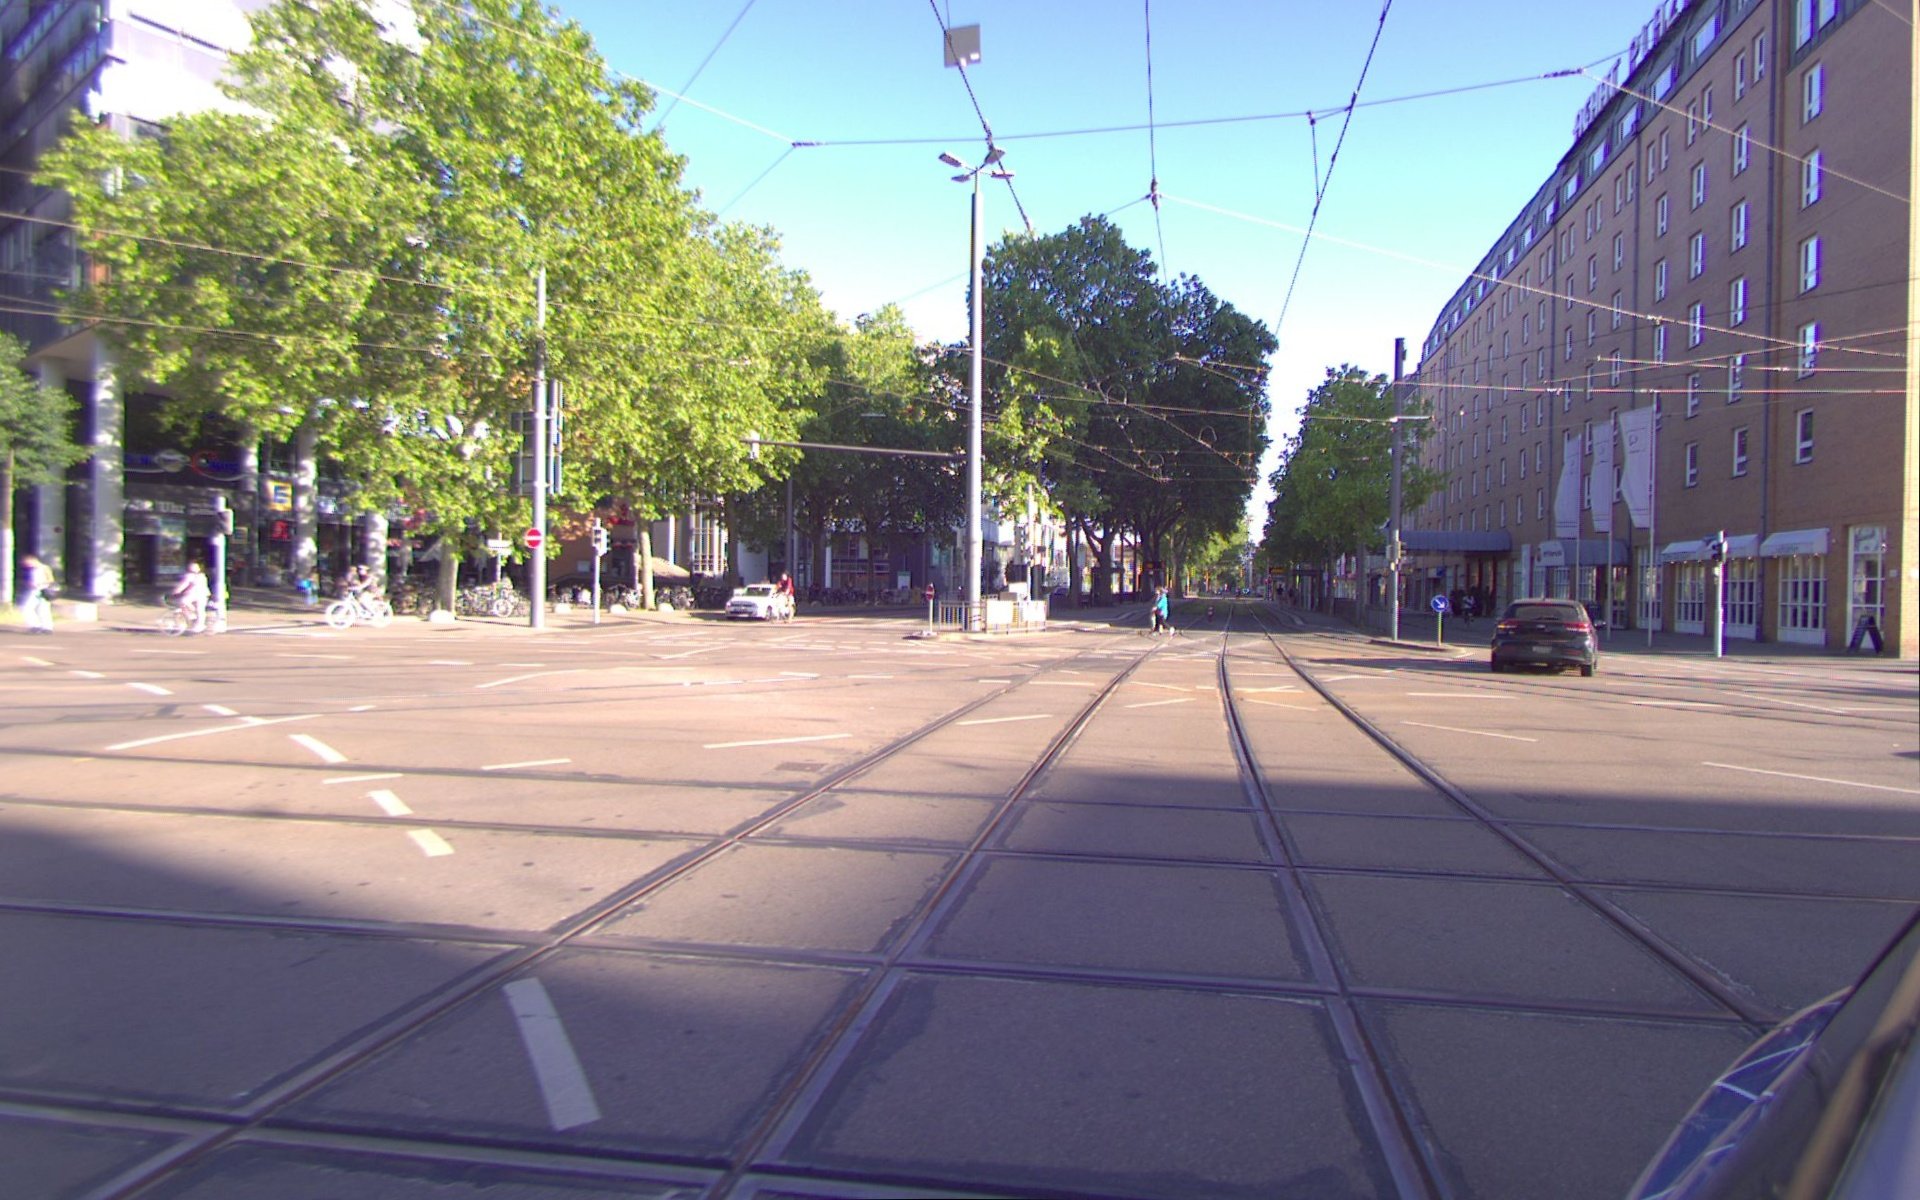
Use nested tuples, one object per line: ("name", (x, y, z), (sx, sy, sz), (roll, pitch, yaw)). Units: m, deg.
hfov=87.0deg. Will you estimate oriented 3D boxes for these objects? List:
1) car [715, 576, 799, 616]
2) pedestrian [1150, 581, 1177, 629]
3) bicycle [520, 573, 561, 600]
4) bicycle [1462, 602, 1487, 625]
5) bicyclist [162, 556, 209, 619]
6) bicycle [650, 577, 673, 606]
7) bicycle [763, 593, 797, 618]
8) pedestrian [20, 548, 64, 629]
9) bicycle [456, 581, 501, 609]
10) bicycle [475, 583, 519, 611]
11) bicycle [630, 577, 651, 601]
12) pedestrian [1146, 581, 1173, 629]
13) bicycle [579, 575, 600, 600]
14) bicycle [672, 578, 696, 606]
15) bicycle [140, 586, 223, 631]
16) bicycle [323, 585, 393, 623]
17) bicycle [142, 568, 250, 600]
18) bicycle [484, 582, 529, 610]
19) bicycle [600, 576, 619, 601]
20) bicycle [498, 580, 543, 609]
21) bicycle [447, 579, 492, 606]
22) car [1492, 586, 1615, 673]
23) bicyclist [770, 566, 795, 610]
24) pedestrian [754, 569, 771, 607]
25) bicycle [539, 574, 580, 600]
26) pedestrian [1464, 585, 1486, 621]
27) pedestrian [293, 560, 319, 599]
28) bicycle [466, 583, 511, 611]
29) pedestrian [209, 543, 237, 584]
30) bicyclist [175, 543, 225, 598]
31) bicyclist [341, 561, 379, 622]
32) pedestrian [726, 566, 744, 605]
("car", (-8.234, -0.145, 41.431), (1.969, 1.505, 3.985), (1, 0, 12))
("pedestrian", (6.635, 0.158, 33.017), (0.728, 1.559, 0.677), (1, -1, 0))
("bicycle", (-19.417, -0.635, 46.803), (0.862, 1.105, 2.929), (1, 1, -41))
("bicycle", (23.906, 0.627, 47.017), (0.782, 1.065, 1.910), (1, 0, 19))
("bicyclist", (-19.022, -0.314, 24.864), (0.563, 1.521, 0.740), (1, 1, 19))
("bicycle", (-14.141, -0.425, 47.888), (0.859, 1.250, 2.939), (2, 1, -19))
("bicycle", (-6.821, 0.194, 38.480), (0.642, 0.922, 1.853), (2, 1, 12))
("pedestrian", (-21.501, -0.264, 23.697), (0.513, 1.860, 0.691), (0, -1, 43))
("bicycle", (-17.772, -0.196, 37.403), (0.386, 0.998, 1.699), (2, 1, 21))
("bicycle", (-16.939, -0.109, 37.062), (0.386, 0.998, 1.699), (2, 1, 21))
("bicycle", (-15.608, -0.555, 49.449), (0.859, 1.105, 2.939), (2, 1, -19))
("pedestrian", (6.638, 0.160, 33.736), (0.728, 1.559, 0.652), (1, -1, 0))
("bicycle", (-17.710, -0.597, 48.431), (0.859, 1.105, 2.939), (2, 1, -19))
("bicycle", (-13.188, -0.405, 48.250), (0.859, 1.250, 2.939), (2, 1, -19))
("bicycle", (-19.067, 0.194, 24.834), (0.509, 1.034, 1.623), (1, 1, 18))
("bicycle", (-17.211, 0.104, 28.982), (0.510, 1.034, 1.848), (1, 1, 19))
("bicycle", (-27.773, -0.564, 36.859), (0.829, 1.127, 3.014), (2, 1, 33))
("bicycle", (-16.503, -0.155, 36.848), (0.386, 0.998, 1.699), (2, 1, 21))
("bicycle", (-17.082, -0.585, 49.319), (0.859, 1.105, 2.939), (2, 1, -19))
("bicycle", (-15.900, -0.207, 36.647), (0.386, 0.998, 1.699), (2, 1, 21))
("bicycle", (-18.207, -0.285, 37.586), (0.386, 0.998, 1.699), (2, 1, 21))
("car", (11.953, 0.505, 20.264), (1.786, 1.484, 4.257), (3, 2, 34))
("bicyclist", (-6.752, -0.475, 38.576), (0.627, 1.635, 0.925), (1, 1, 11))
("pedestrian", (-9.544, -0.598, 48.927), (0.632, 1.798, 0.616), (1, 1, 7))
("bicycle", (-18.805, -0.621, 47.510), (0.862, 1.105, 2.929), (1, 1, -41))
("pedestrian", (23.951, 0.134, 47.041), (0.762, 1.614, 0.833), (1, -1, 18))
("pedestrian", (-26.731, -0.831, 41.363), (0.561, 1.546, 0.767), (2, 1, 39))
("bicycle", (-17.328, -0.117, 37.240), (0.386, 0.998, 1.699), (2, 1, 21))
("pedestrian", (-34.941, -1.714, 47.995), (0.806, 1.876, 0.837), (0, -2, 40))
("bicyclist", (-27.724, -1.075, 36.922), (0.829, 1.955, 1.216), (2, 1, 34))
("bicyclist", (-17.206, -0.248, 29.024), (0.563, 1.715, 0.740), (1, 1, 19))
("pedestrian", (-10.531, -0.665, 47.398), (0.632, 1.798, 0.616), (1, 1, 7))
